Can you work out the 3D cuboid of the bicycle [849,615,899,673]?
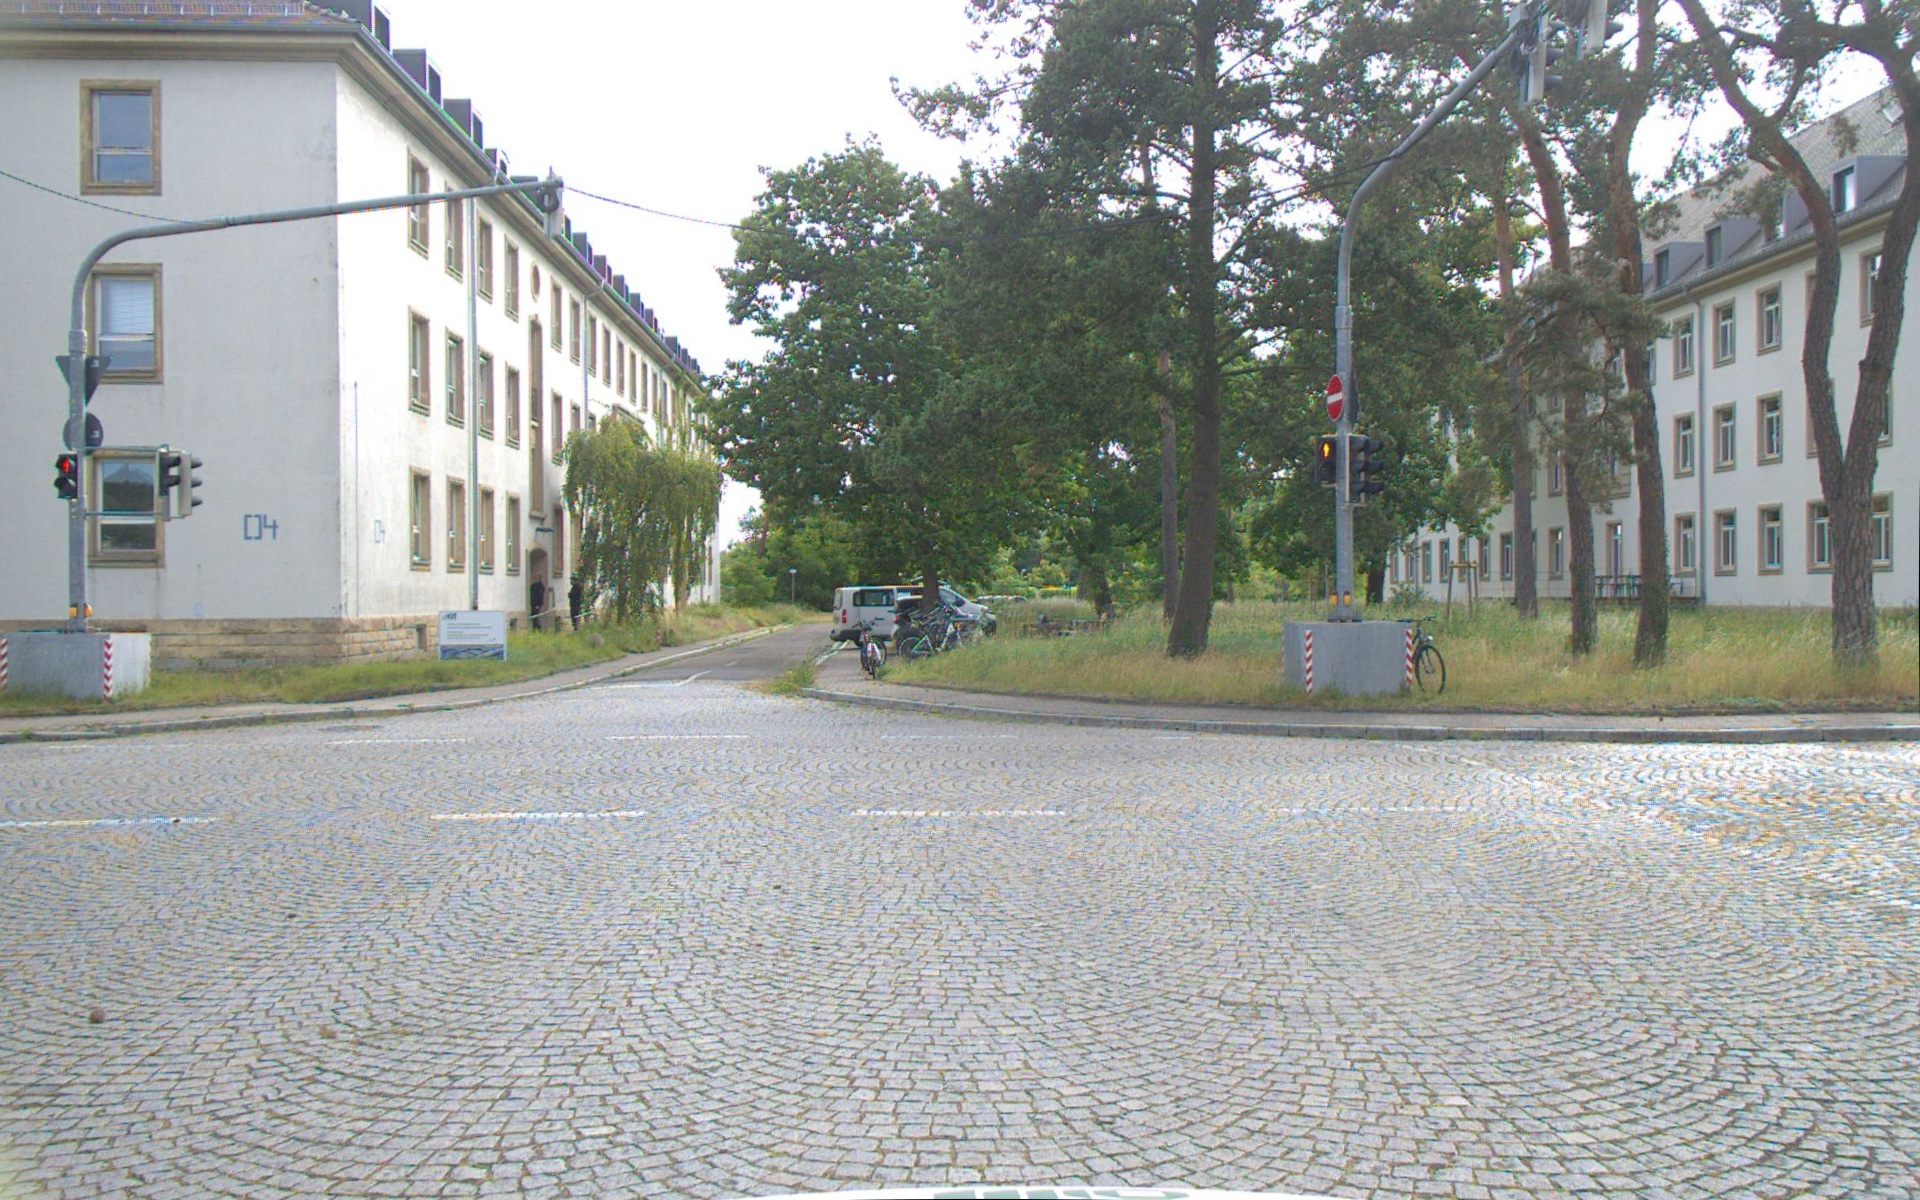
[{"bbox_3d":[-1.586,0.794,30.551,0.882,1.014,1.977,0,0,-3],"label":"bicycle"}]

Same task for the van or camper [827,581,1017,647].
[{"bbox_3d":[-1.223,0.416,52.072,5.646,1.991,2.229,0,0,-15],"label":"van or camper"}]

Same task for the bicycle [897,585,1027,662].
[{"bbox_3d":[0.031,0.487,35.484,2.746,1.611,0.950,0,0,-3],"label":"bicycle"}]

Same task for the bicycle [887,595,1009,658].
[{"bbox_3d":[-0.283,0.593,37.830,2.746,1.396,0.950,0,0,-3],"label":"bicycle"}]

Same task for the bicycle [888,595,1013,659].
[{"bbox_3d":[-0.220,0.589,36.938,2.746,1.396,0.950,0,0,-3],"label":"bicycle"}]

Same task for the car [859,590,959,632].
[{"bbox_3d":[-2.060,0.426,65.873,3.909,1.628,1.702,0,0,-5],"label":"car"}]

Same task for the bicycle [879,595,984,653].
[{"bbox_3d":[-0.705,0.574,40.454,2.517,1.396,0.950,0,0,-4],"label":"bicycle"}]

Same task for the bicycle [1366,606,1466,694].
[{"bbox_3d":[6.086,0.641,22.160,0.632,1.081,1.832,-4,0,-5],"label":"bicycle"}]

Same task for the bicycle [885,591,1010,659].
[{"bbox_3d":[-0.274,0.506,34.600,2.567,1.391,0.874,0,0,-3],"label":"bicycle"}]

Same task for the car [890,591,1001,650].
[{"bbox_3d":[-0.469,0.587,48.594,3.160,1.649,1.936,1,0,-3],"label":"car"}]

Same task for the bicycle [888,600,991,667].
[{"bbox_3d":[-0.436,0.679,33.981,2.071,1.329,0.874,0,0,-3],"label":"bicycle"}]

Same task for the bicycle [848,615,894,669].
[{"bbox_3d":[-1.741,0.806,32.637,0.712,1.014,1.979,0,0,2],"label":"bicycle"}]

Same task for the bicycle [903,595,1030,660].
[{"bbox_3d":[0.122,0.591,36.419,2.746,1.396,0.950,0,0,-3],"label":"bicycle"}]

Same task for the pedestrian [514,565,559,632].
[{"bbox_3d":[-12.396,-0.031,48.414,1.174,1.903,1.545,1,-1,-12],"label":"pedestrian"}]

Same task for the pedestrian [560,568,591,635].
[{"bbox_3d":[-11.531,0.037,49.655,0.850,1.966,0.834,2,-1,-14],"label":"pedestrian"}]

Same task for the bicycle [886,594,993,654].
[{"bbox_3d":[-0.511,0.572,39.624,2.517,1.396,0.950,0,0,-4],"label":"bicycle"}]

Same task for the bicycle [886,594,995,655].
[{"bbox_3d":[-0.465,0.567,38.785,2.517,1.396,0.950,0,0,-4],"label":"bicycle"}]
